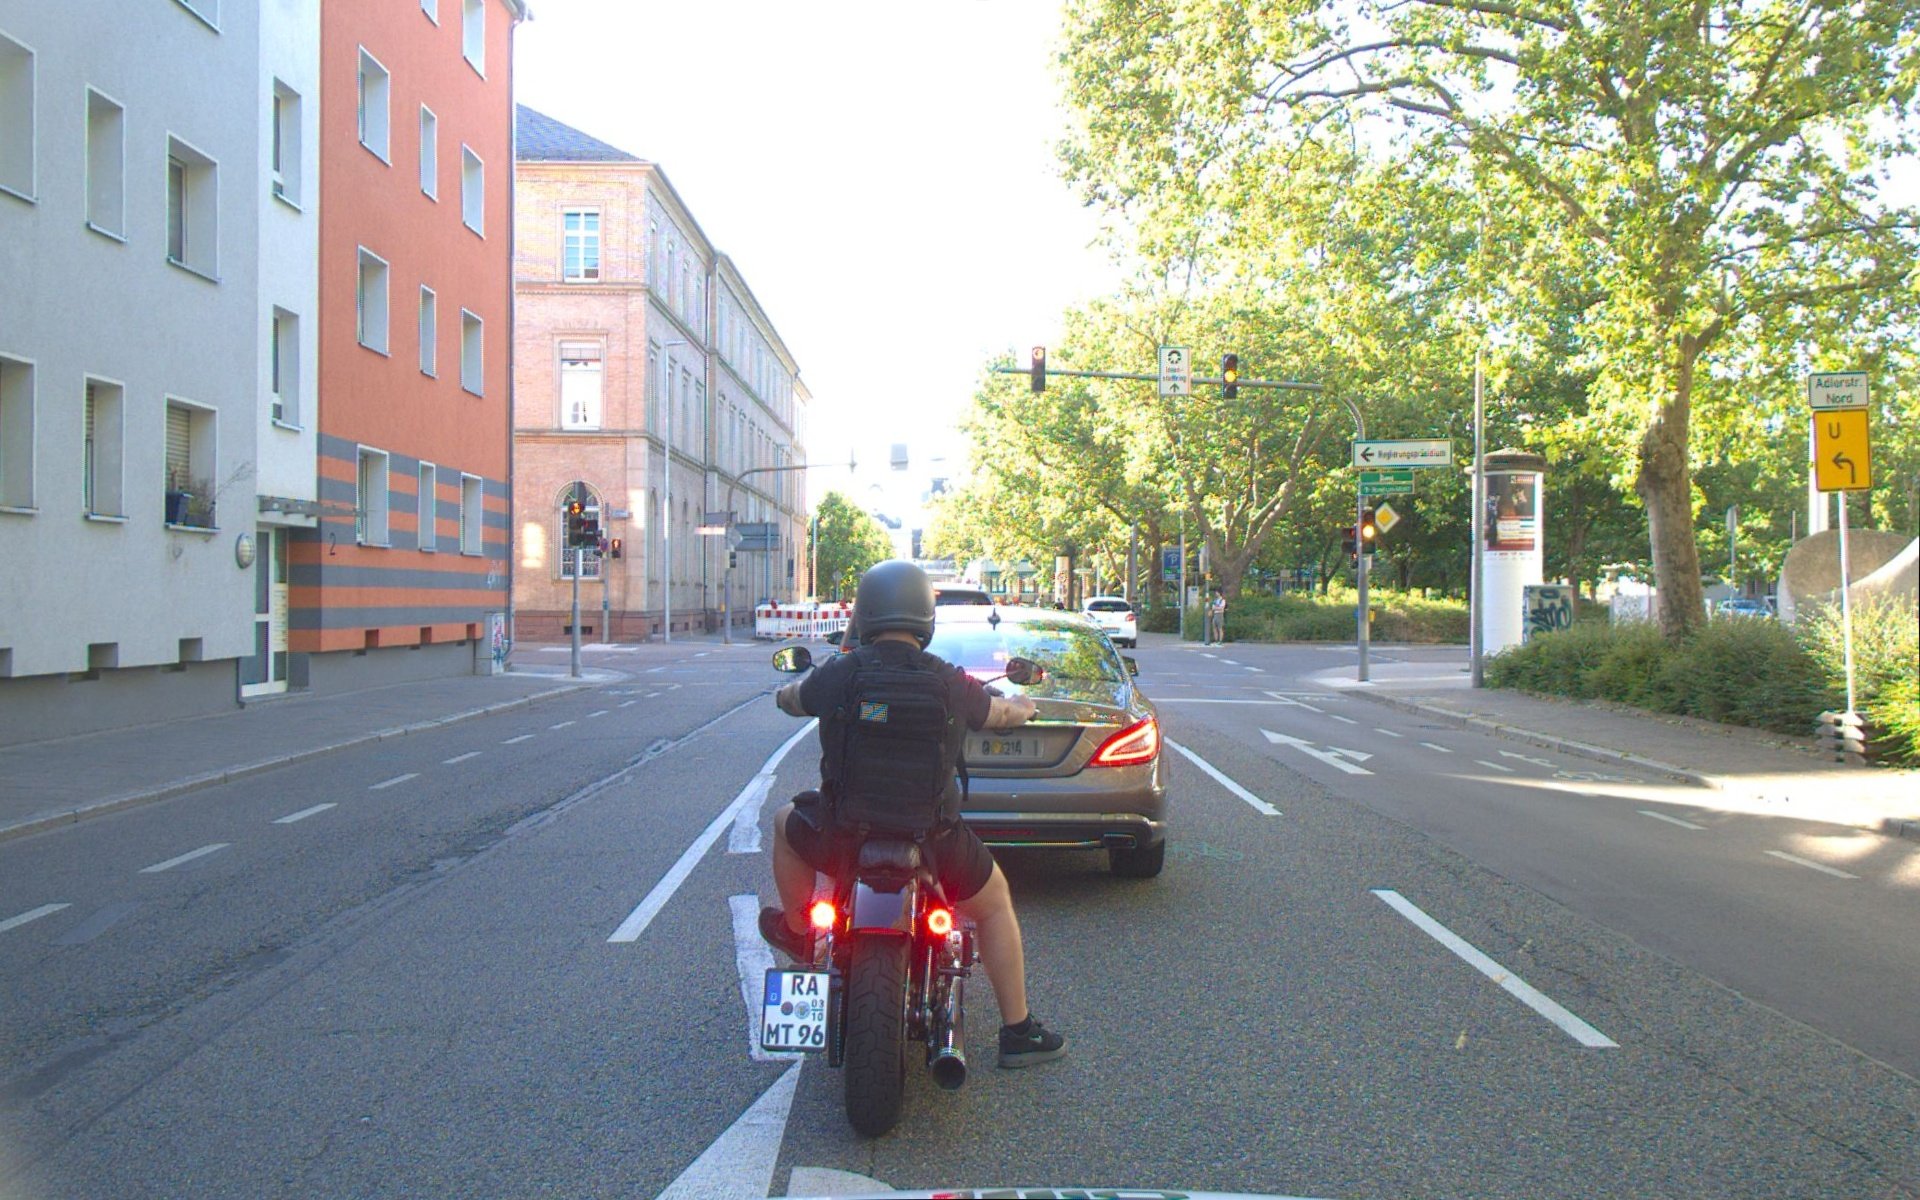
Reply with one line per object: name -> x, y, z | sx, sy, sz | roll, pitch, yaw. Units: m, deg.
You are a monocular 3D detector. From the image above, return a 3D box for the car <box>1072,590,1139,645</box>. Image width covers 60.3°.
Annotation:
car -> 4.294, 0.509, 49.262 | 1.645, 1.524, 3.685 | 2, 0, 0

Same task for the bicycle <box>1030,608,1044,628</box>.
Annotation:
bicycle -> 4.434, 1.008, 94.947 | 0.643, 1.131, 2.185 | 2, 0, -1

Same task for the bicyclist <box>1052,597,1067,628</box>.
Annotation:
bicyclist -> 5.089, 0.618, 84.625 | 0.643, 1.557, 0.852 | 2, -1, -1

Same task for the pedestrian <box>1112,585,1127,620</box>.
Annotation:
pedestrian -> 7.545, 0.113, 78.314 | 0.580, 1.606, 0.527 | 2, -1, -1

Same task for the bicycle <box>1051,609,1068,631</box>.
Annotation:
bicycle -> 5.082, 1.030, 84.501 | 0.643, 1.089, 1.926 | 2, 0, -2

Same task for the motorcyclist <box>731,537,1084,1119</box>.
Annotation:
motorcyclist -> -0.158, 0.637, 5.352 | 0.991, 1.630, 1.406 | 0, 0, -1

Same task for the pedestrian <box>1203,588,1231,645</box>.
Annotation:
pedestrian -> 8.280, 0.537, 53.307 | 0.566, 1.805, 0.618 | 2, -1, -35

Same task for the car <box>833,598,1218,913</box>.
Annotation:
car -> 0.278, 0.727, 9.656 | 1.791, 1.445, 3.814 | 1, 0, -1

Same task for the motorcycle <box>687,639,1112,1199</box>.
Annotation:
motorcycle -> -0.163, 0.825, 5.197 | 0.991, 1.329, 2.672 | 0, 0, -1

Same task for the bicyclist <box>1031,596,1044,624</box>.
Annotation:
bicyclist -> 4.446, 0.570, 94.996 | 0.643, 1.557, 0.906 | 2, -1, -1

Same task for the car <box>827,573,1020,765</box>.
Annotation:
car -> -0.475, 0.623, 16.703 | 1.599, 1.679, 3.845 | 2, 0, -6
